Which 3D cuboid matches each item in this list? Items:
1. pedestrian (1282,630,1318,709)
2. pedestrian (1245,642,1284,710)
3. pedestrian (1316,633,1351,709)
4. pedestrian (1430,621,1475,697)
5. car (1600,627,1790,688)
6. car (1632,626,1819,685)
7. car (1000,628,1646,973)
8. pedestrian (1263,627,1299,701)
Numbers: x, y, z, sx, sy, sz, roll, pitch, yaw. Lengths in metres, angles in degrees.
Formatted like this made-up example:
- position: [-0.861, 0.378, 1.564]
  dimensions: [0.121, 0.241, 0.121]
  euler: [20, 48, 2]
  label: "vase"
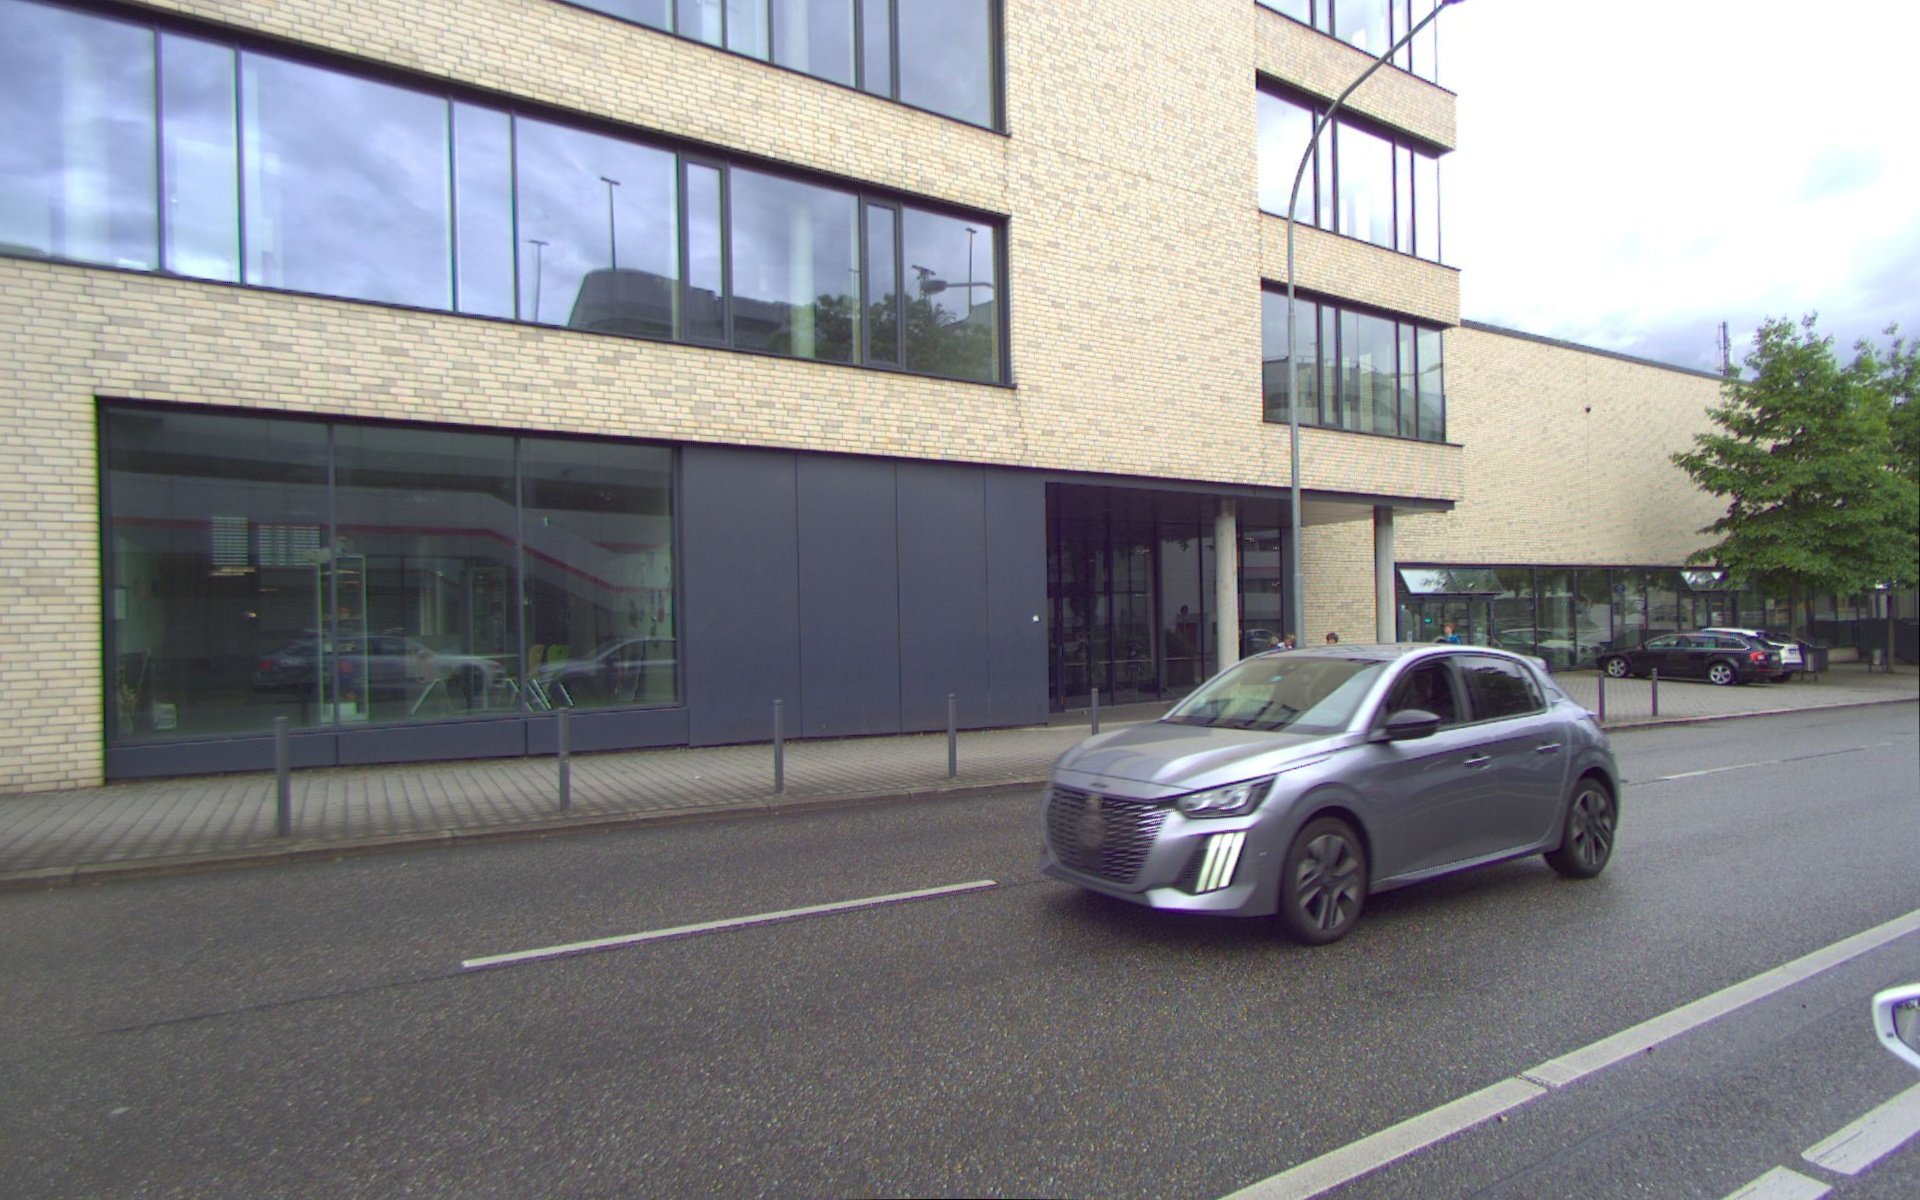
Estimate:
- position: [6.603, 1.347, 19.512]
  dimensions: [0.459, 1.495, 0.446]
  euler: [2, 0, -35]
  label: "pedestrian"
- position: [5.770, 1.431, 19.041]
  dimensions: [0.416, 1.231, 0.546]
  euler: [2, 0, -27]
  label: "pedestrian"
- position: [7.512, 1.425, 20.212]
  dimensions: [0.459, 1.495, 0.446]
  euler: [2, 0, -35]
  label: "pedestrian"
- position: [11.618, 1.377, 23.699]
  dimensions: [0.696, 1.737, 0.632]
  euler: [2, 0, -27]
  label: "pedestrian"
- position: [21.670, 1.648, 29.761]
  dimensions: [1.981, 1.515, 4.147]
  euler: [2, 0, -36]
  label: "car"
- position: [23.547, 1.666, 31.069]
  dimensions: [1.975, 1.568, 4.159]
  euler: [2, 0, -28]
  label: "car"
- position: [2.306, 0.952, 6.144]
  dimensions: [3.840, 1.489, 1.732]
  euler: [1, -3, -32]
  label: "car"
- position: [6.601, 1.305, 20.648]
  dimensions: [0.523, 1.495, 0.438]
  euler: [2, 0, -35]
  label: "pedestrian"
